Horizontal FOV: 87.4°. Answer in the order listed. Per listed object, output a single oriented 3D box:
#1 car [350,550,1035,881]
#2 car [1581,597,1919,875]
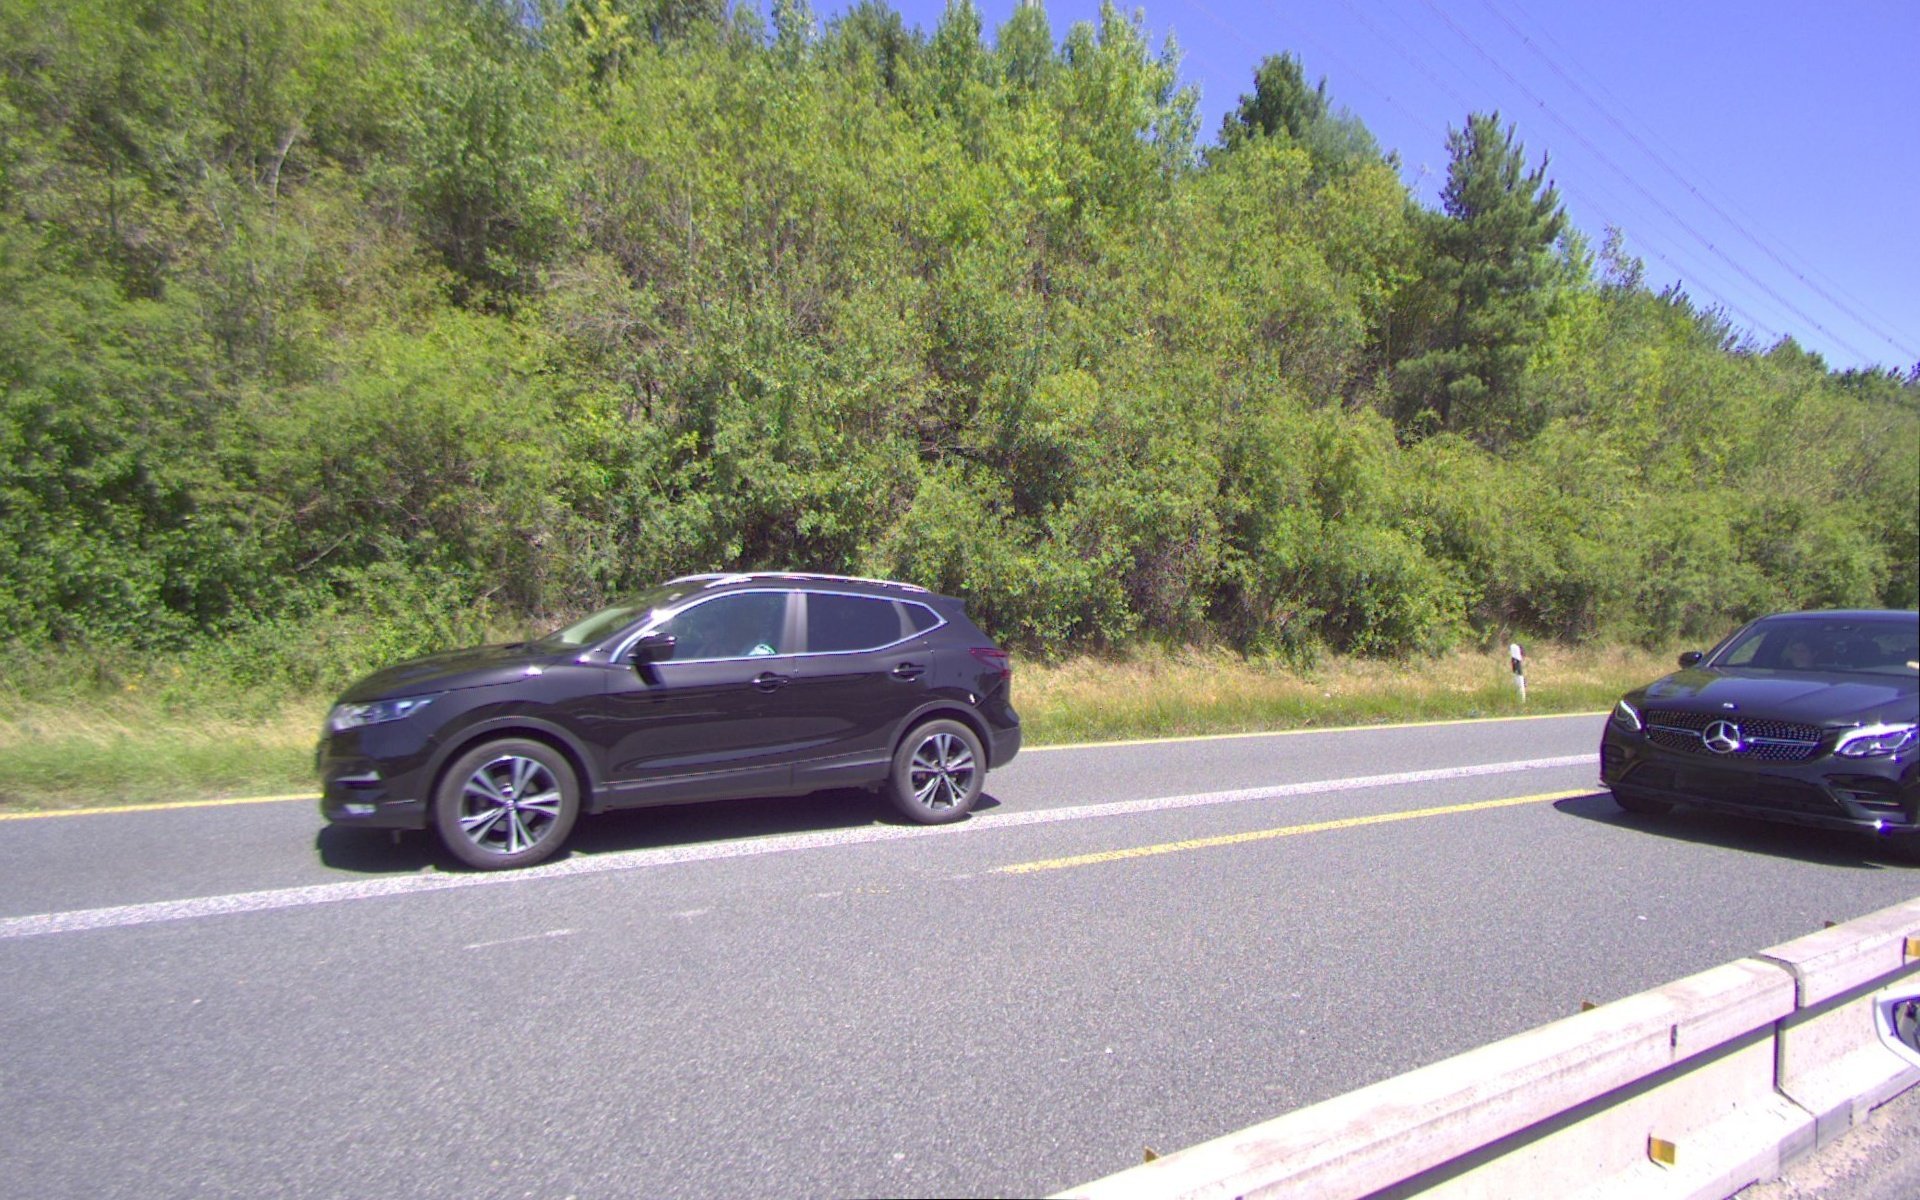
[{"bbox_3d":[-1.625,0.576,6.550,3.948,1.586,1.691,1,1,-31],"label":"car"},{"bbox_3d":[7.003,0.824,7.726,4.617,1.554,1.834,1,1,-31],"label":"car"}]
